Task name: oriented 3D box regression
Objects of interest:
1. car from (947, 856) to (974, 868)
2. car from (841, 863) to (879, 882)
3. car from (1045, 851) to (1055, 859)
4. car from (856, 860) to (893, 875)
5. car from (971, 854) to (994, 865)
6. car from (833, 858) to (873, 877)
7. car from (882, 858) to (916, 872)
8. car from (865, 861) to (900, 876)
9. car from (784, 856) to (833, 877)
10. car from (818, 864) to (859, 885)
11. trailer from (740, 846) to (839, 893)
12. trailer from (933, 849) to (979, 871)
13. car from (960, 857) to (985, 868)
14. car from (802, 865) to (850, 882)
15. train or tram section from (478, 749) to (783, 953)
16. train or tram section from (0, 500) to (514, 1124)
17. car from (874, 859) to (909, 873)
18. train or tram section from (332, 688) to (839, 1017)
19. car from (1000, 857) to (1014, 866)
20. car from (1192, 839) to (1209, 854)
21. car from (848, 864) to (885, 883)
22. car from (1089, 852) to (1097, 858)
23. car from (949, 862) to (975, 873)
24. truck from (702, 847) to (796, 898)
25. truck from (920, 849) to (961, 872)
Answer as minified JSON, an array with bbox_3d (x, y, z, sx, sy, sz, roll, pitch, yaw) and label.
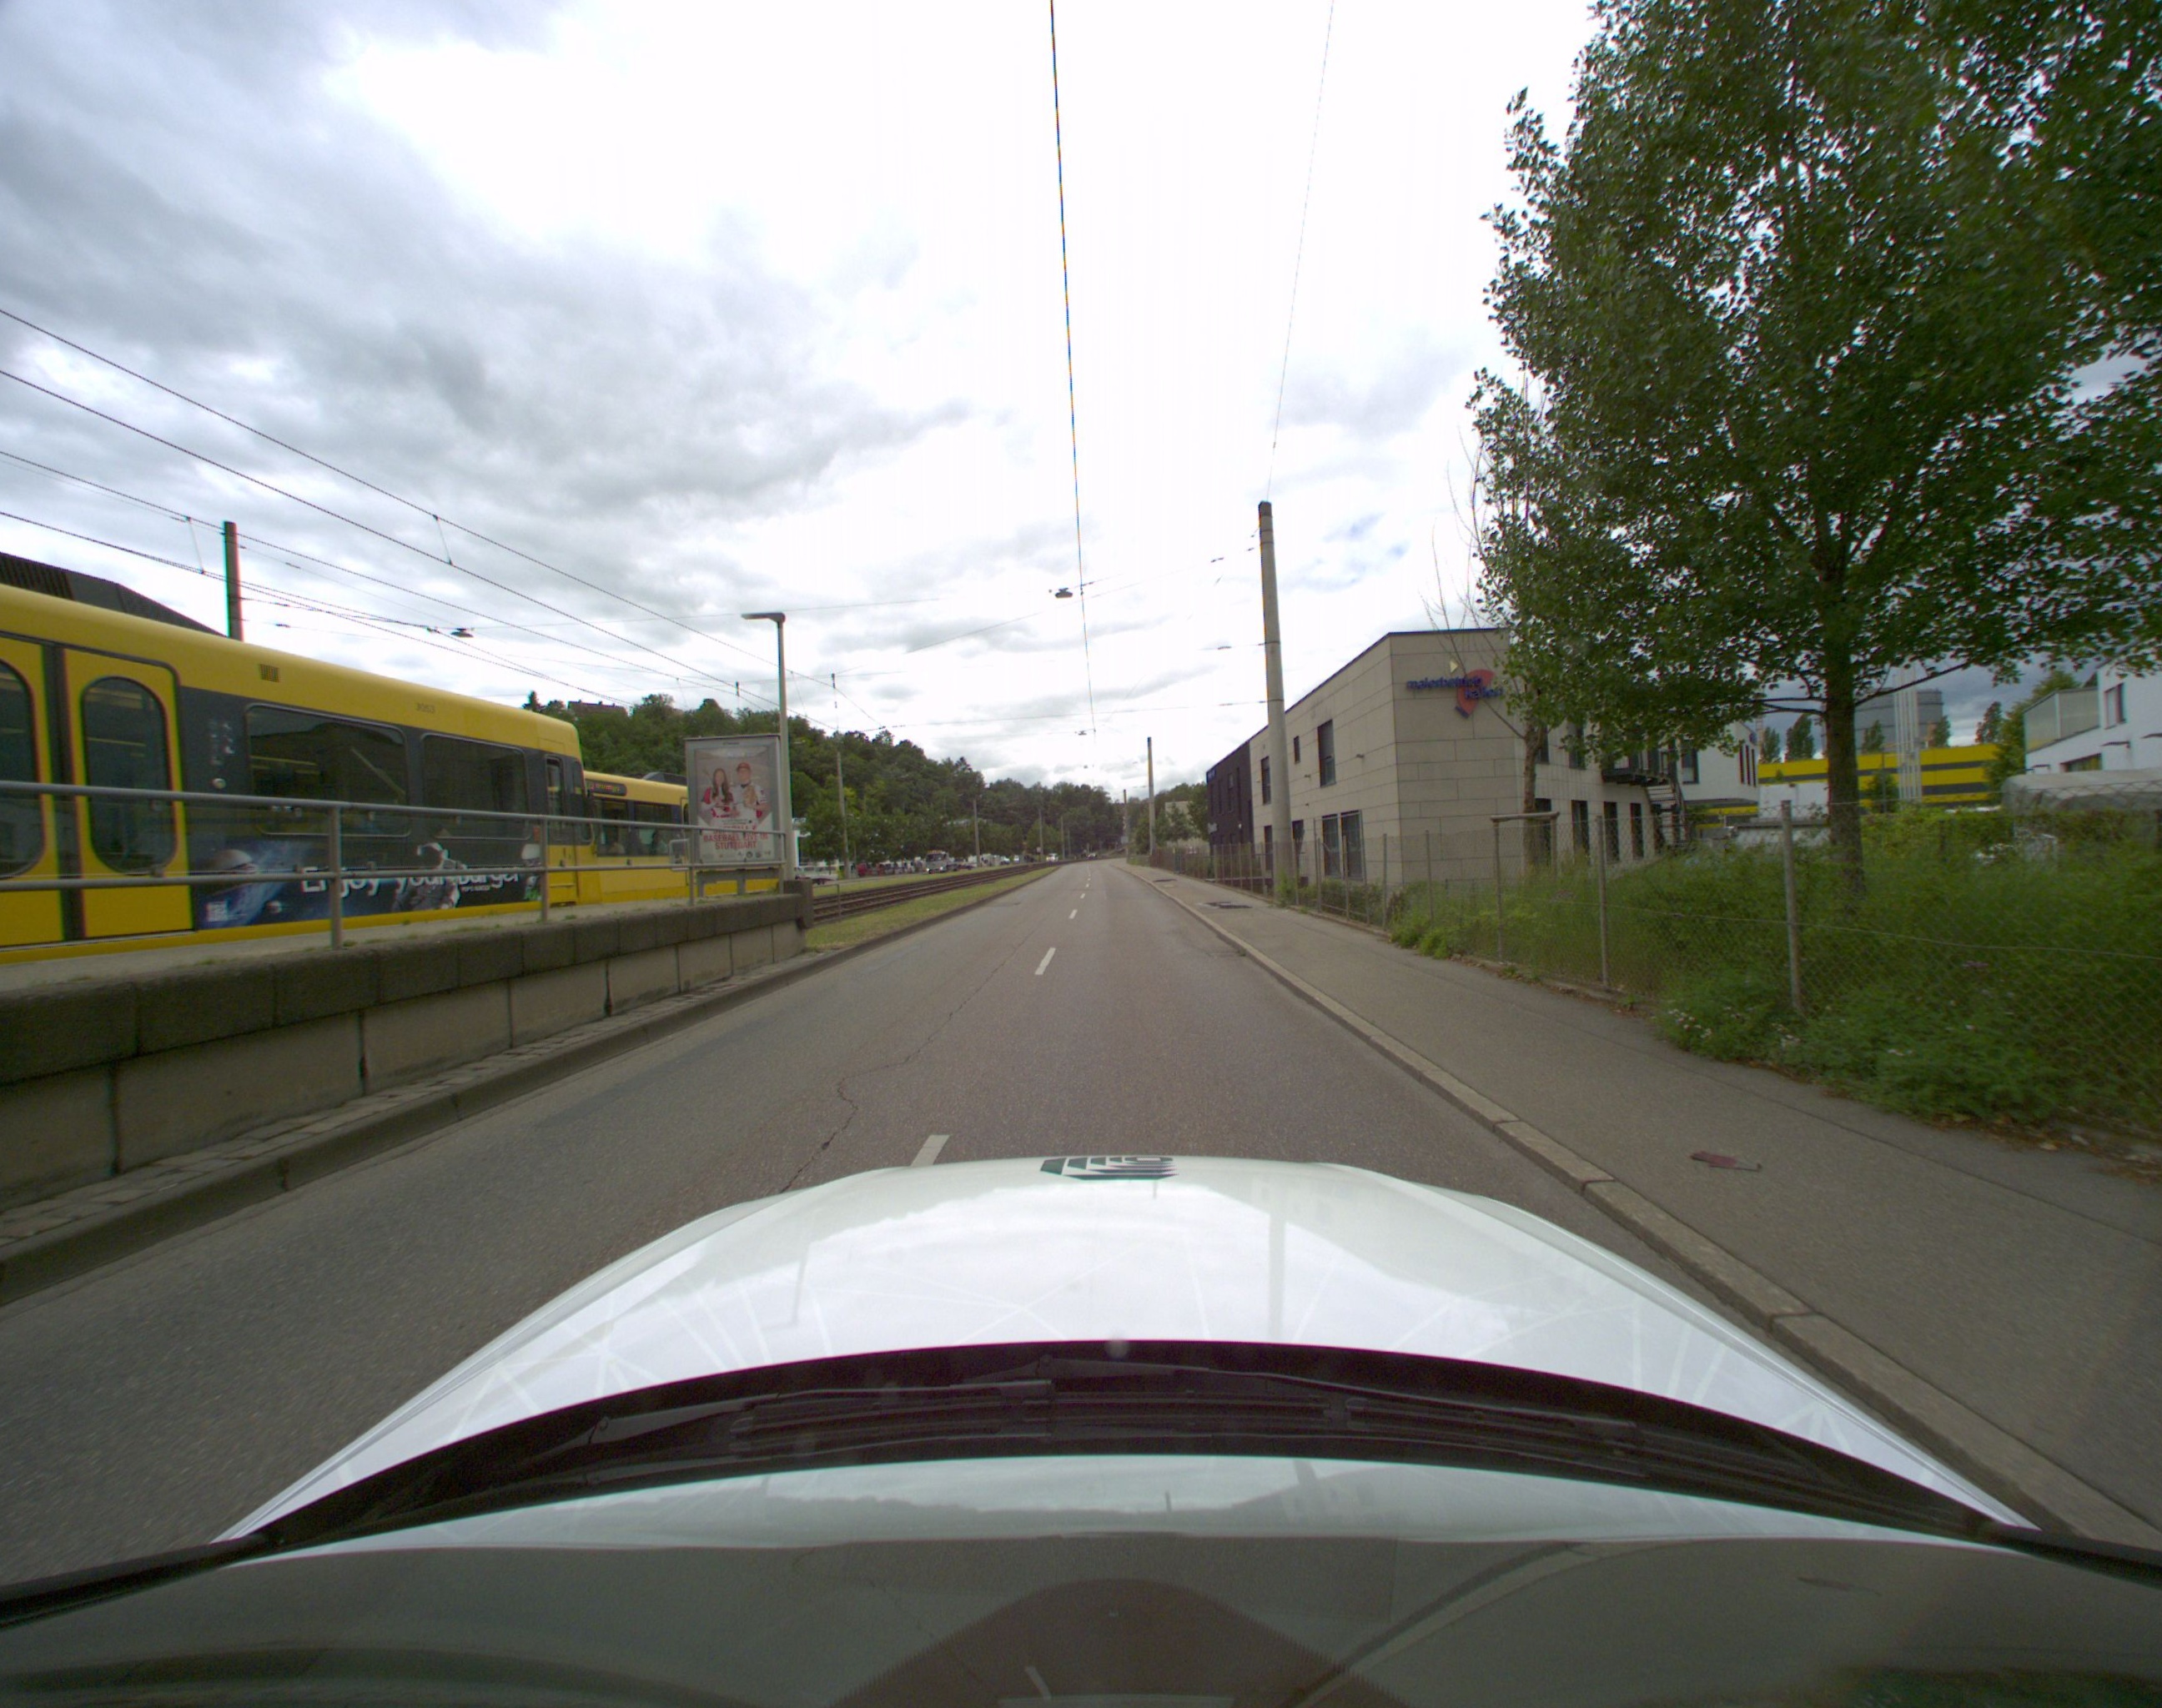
[{"bbox_3d":[-19.966,1.322,134.740,3.965,1.706,1.837,-3,-4,7],"label":"car"},{"bbox_3d":[-26.727,2.222,98.540,3.969,2.014,2.002,-3,-4,3],"label":"car"},{"bbox_3d":[-6.921,0.225,182.690,1.986,1.640,4.001,-3,0,1],"label":"car"},{"bbox_3d":[-26.202,1.696,103.365,3.965,1.706,1.838,-3,-1,7],"label":"car"},{"bbox_3d":[-18.534,1.062,152.930,3.965,1.706,1.837,-3,-4,7],"label":"car"},{"bbox_3d":[-26.814,1.608,95.852,3.969,2.014,2.002,-3,-4,3],"label":"car"},{"bbox_3d":[-24.741,1.463,110.813,3.965,1.705,1.838,-3,1,7],"label":"car"},{"bbox_3d":[-25.705,1.881,105.549,3.965,1.705,1.838,-3,1,7],"label":"car"},{"bbox_3d":[-28.101,1.298,84.026,4.554,1.898,2.011,-4,-4,23],"label":"car"},{"bbox_3d":[-27.568,2.351,92.785,3.969,2.014,2.002,-3,-4,3],"label":"car"},{"bbox_3d":[-21.136,1.026,59.980,2.881,2.982,10.797,-3,0,2],"label":"trailer"},{"bbox_3d":[-16.351,0.694,107.297,2.875,2.583,10.020,-3,0,9],"label":"trailer"},{"bbox_3d":[-19.382,1.545,145.352,3.965,1.706,1.837,-3,-4,7],"label":"car"},{"bbox_3d":[-28.079,2.136,89.691,4.576,1.575,2.001,-3,-4,3],"label":"car"},{"bbox_3d":[-10.314,-0.039,20.180,1.986,3.795,9.183,-3,0,2],"label":"train or tram section"},{"bbox_3d":[-8.263,-0.199,3.572,2.730,3.966,11.917,-3,1,2],"label":"train or tram section"},{"bbox_3d":[-25.162,1.593,108.309,3.965,1.706,1.838,-3,0,7],"label":"car"},{"bbox_3d":[-7.862,-0.093,15.516,2.961,4.065,10.200,-3,1,2],"label":"train or tram section"},{"bbox_3d":[-15.916,1.574,175.291,1.816,1.706,4.155,-4,-4,12],"label":"car"},{"bbox_3d":[15.047,-0.926,102.406,1.816,1.706,3.817,-3,0,10],"label":"car"},{"bbox_3d":[-26.572,2.407,100.908,3.969,2.014,2.002,-3,-4,3],"label":"car"},{"bbox_3d":[3.030,0.260,212.193,1.986,1.640,4.001,-3,0,1],"label":"car"},{"bbox_3d":[-20.400,2.342,140.173,3.965,1.705,1.838,-3,1,7],"label":"car"},{"bbox_3d":[-21.447,1.091,53.085,2.871,2.990,6.917,-3,0,3],"label":"truck"},{"bbox_3d":[-17.341,0.776,100.900,2.866,2.589,6.928,-3,0,9],"label":"truck"}]
